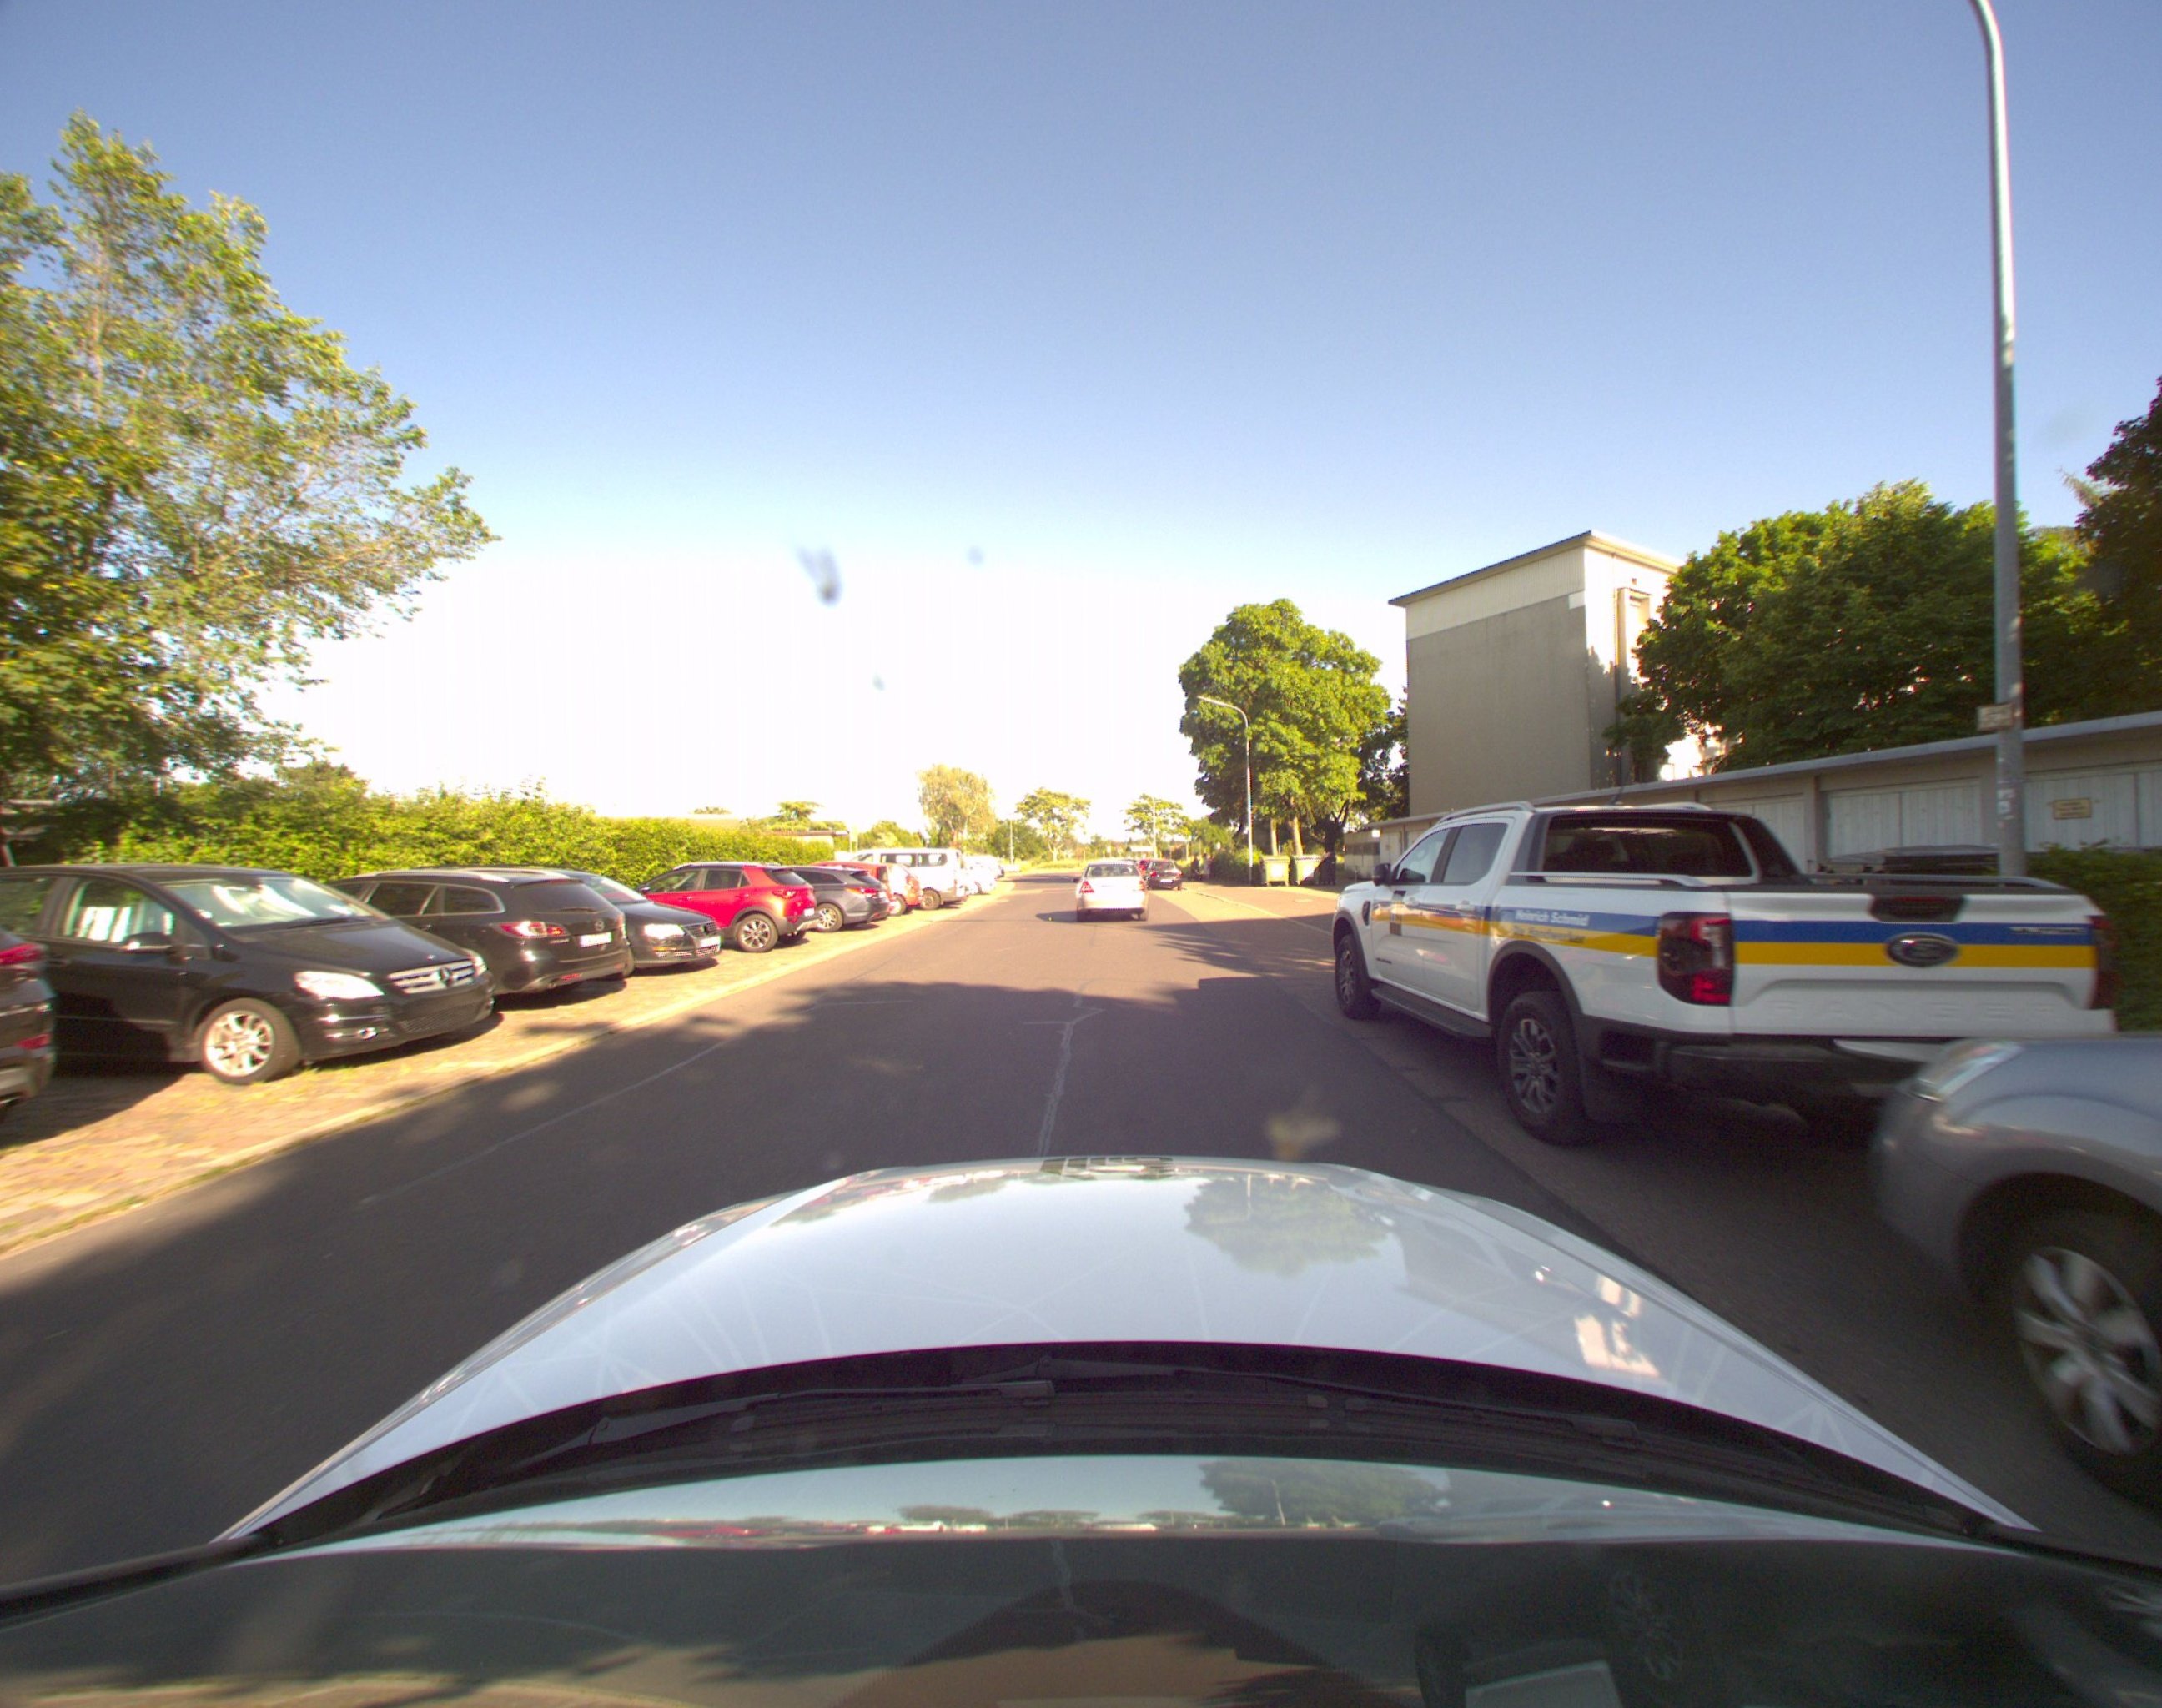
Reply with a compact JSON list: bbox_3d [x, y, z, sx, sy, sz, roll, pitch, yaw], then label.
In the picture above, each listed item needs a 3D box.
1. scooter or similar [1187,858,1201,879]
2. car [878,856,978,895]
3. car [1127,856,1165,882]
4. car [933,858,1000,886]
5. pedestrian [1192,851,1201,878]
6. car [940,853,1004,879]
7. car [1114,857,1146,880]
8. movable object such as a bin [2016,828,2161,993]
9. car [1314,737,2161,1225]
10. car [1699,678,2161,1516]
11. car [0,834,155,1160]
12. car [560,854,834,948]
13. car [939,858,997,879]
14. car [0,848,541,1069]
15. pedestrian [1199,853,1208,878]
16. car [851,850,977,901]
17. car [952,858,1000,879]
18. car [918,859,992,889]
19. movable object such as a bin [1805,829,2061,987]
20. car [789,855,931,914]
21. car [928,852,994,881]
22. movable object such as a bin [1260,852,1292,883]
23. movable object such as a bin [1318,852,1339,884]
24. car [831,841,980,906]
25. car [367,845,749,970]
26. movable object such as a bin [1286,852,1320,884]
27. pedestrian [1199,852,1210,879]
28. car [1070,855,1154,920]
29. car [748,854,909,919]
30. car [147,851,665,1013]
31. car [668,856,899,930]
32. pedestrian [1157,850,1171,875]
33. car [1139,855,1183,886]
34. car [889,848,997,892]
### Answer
[{"bbox_3d":[6.645,0.852,47.891,0.621,1.227,0.904,-2,-1,-3],"label":"scooter or similar"},{"bbox_3d":[-6.717,0.939,35.979,3.973,1.583,1.884,1,-1,1],"label":"car"},{"bbox_3d":[3.730,0.870,47.294,1.573,1.446,3.782,0,-1,-5],"label":"car"},{"bbox_3d":[-6.457,0.995,46.213,3.503,1.489,1.636,1,-1,-1],"label":"car"},{"bbox_3d":[6.936,0.645,49.004,0.478,1.565,0.598,-3,-2,7],"label":"pedestrian"},{"bbox_3d":[-8.468,0.916,63.309,4.868,1.916,1.995,0,-1,-8],"label":"car"},{"bbox_3d":[3.422,0.994,57.134,1.728,1.543,3.782,0,-1,-5],"label":"car"},{"bbox_3d":[9.393,0.463,7.084,1.241,1.347,1.056,-1,-2,13],"label":"movable object such as a bin"},{"bbox_3d":[3.324,0.481,5.773,1.900,1.840,5.275,1,0,1],"label":"car"},{"bbox_3d":[3.221,0.541,0.786,1.827,1.791,4.555,1,0,1],"label":"car"},{"bbox_3d":[-7.562,0.678,3.815,4.174,1.656,1.846,1,-1,-1],"label":"car"},{"bbox_3d":[-6.697,0.788,14.520,3.972,1.479,1.791,1,0,1],"label":"car"},{"bbox_3d":[-8.400,1.083,60.632,4.130,1.492,1.922,1,-1,-5],"label":"car"},{"bbox_3d":[-7.128,0.756,6.764,3.974,1.533,1.831,1,-1,-1],"label":"car"},{"bbox_3d":[7.448,0.692,49.448,0.361,1.503,0.500,-2,-2,-6],"label":"pedestrian"},{"bbox_3d":[-5.998,0.790,29.591,4.137,1.706,1.884,1,-1,0],"label":"car"},{"bbox_3d":[-8.457,1.145,65.798,3.604,1.607,1.731,1,-1,-4],"label":"car"},{"bbox_3d":[-6.368,1.002,41.389,3.503,1.446,1.636,1,-1,-1],"label":"car"},{"bbox_3d":[7.820,0.479,7.574,1.241,1.347,1.056,-1,-2,13],"label":"movable object such as a bin"},{"bbox_3d":[-6.423,0.862,23.970,3.589,1.567,1.853,1,0,1],"label":"car"},{"bbox_3d":[-7.500,0.794,51.261,3.972,1.780,1.921,0,0,-7],"label":"car"},{"bbox_3d":[8.892,0.616,37.187,1.234,1.403,0.914,-1,-1,-2],"label":"movable object such as a bin"},{"bbox_3d":[11.243,0.634,37.046,0.721,1.416,0.688,-1,-1,-2],"label":"movable object such as a bin"},{"bbox_3d":[-5.744,0.635,27.081,4.464,1.977,2.000,1,-1,0],"label":"car"},{"bbox_3d":[-7.069,0.708,11.374,4.006,1.513,1.905,1,-1,-1],"label":"car"},{"bbox_3d":[10.141,0.639,37.245,1.271,1.416,0.950,-1,-1,-2],"label":"movable object such as a bin"},{"bbox_3d":[7.238,0.658,47.873,0.485,1.565,0.468,-2,-2,-7],"label":"pedestrian"},{"bbox_3d":[0.670,0.761,20.489,1.811,1.463,4.357,0,0,-2],"label":"car"},{"bbox_3d":[-6.566,0.824,21.466,3.589,1.567,1.882,1,0,1],"label":"car"},{"bbox_3d":[-7.125,0.789,8.964,4.079,1.513,1.812,1,-1,-1],"label":"car"},{"bbox_3d":[-6.613,0.845,18.449,4.527,1.479,1.748,1,0,1],"label":"car"},{"bbox_3d":[5.313,0.564,52.101,0.786,1.565,0.569,1,-1,-3],"label":"pedestrian"},{"bbox_3d":[3.890,0.817,39.898,1.643,1.403,3.879,-1,-1,-2],"label":"car"},{"bbox_3d":[-6.462,0.750,38.666,4.777,1.921,2.080,1,-1,-3],"label":"car"}]
